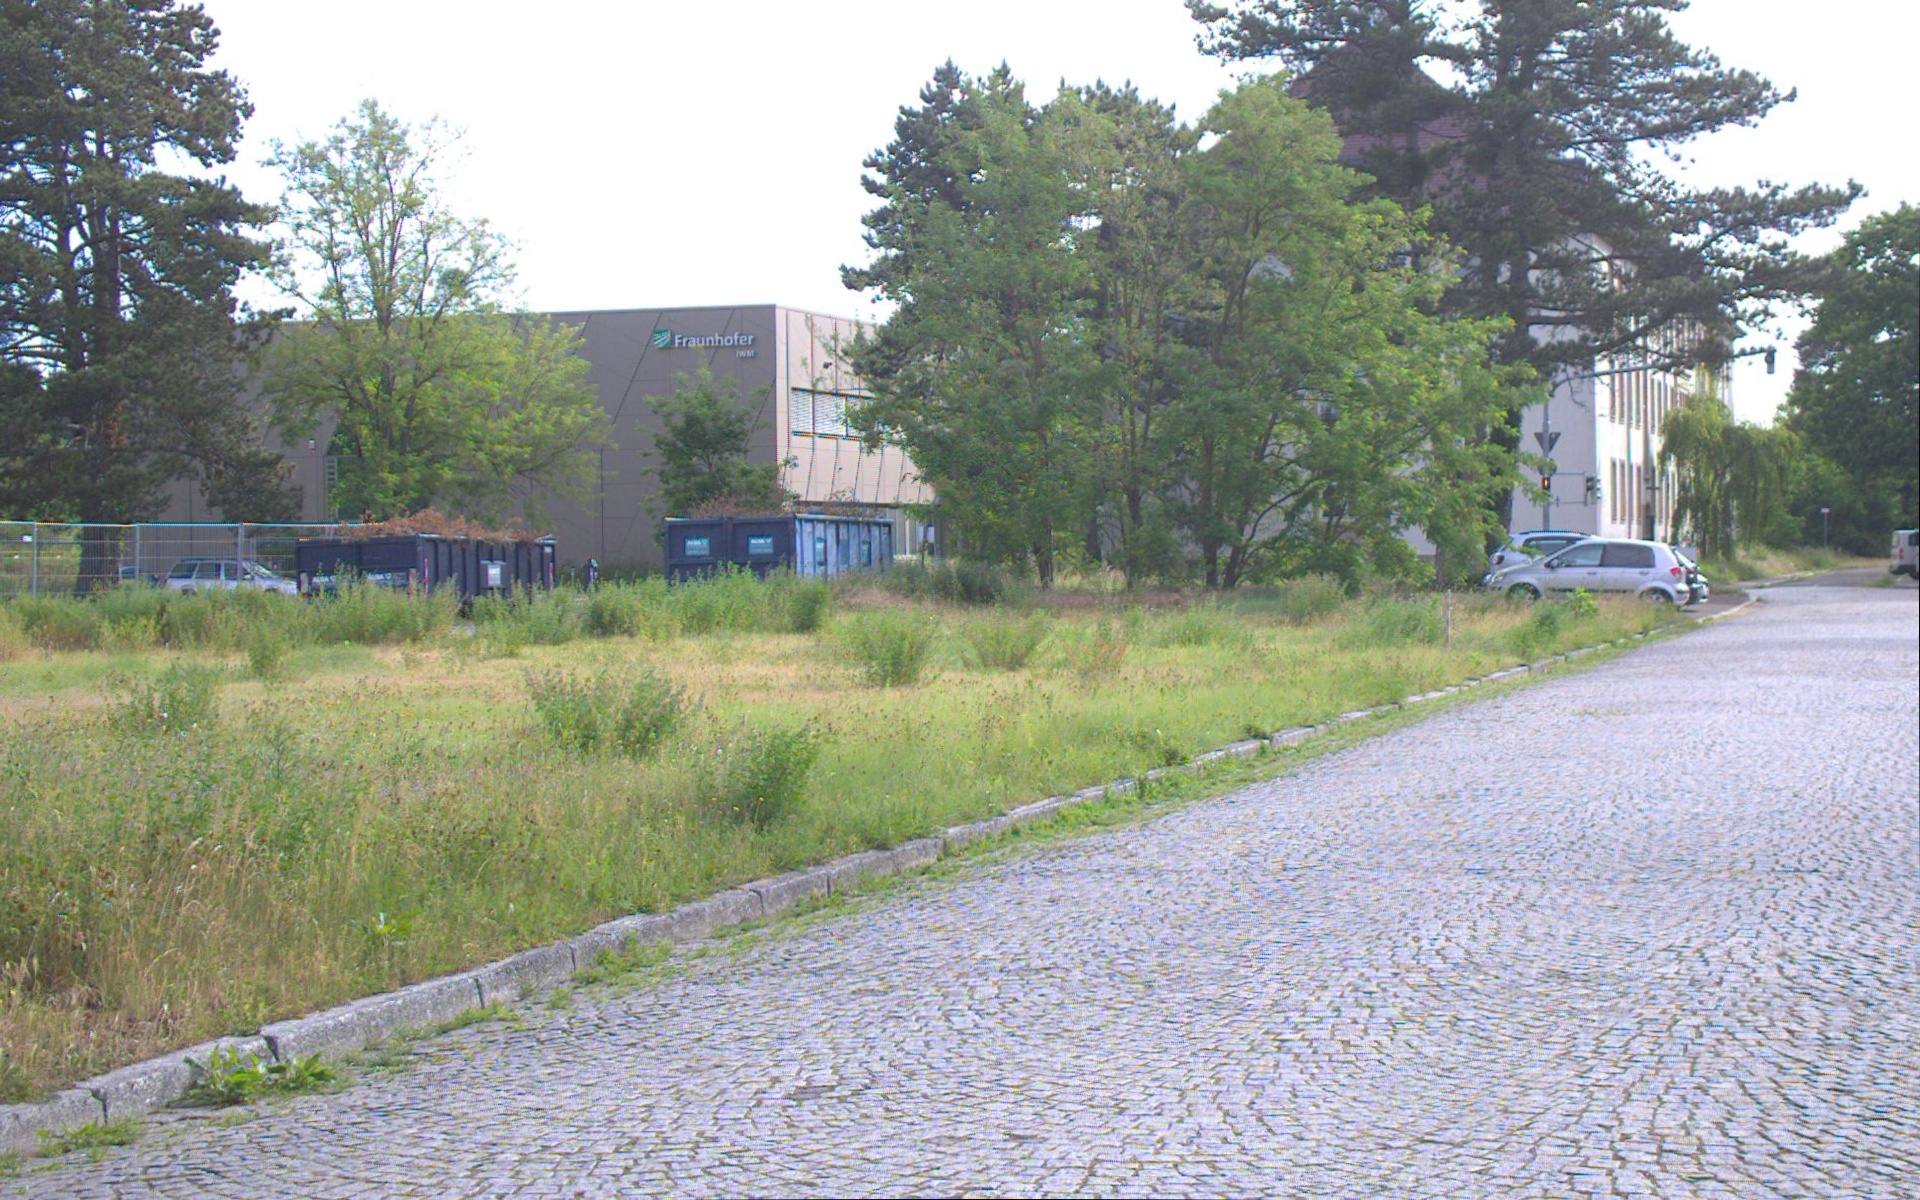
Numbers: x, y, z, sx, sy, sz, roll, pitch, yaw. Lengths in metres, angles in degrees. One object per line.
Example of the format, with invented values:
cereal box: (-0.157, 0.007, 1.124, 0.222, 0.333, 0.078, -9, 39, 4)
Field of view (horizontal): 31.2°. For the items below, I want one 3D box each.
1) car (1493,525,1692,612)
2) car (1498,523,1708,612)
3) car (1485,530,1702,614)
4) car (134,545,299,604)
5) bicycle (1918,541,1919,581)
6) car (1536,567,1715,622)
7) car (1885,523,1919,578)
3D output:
car: (13.001, -0.656, 70.779, 3.988, 1.744, 1.926, 0, 1, 10)
car: (12.675, -0.642, 67.821, 3.989, 1.700, 1.999, 0, 1, 11)
car: (12.030, -0.540, 65.336, 3.989, 1.546, 1.999, 0, 1, 11)
car: (-20.196, -0.692, 93.372, 3.990, 1.548, 1.807, 0, 1, 16)
bicycle: (30.484, -1.228, 107.791, 0.810, 1.264, 1.971, 0, 1, 18)
car: (14.089, -0.117, 72.851, 3.672, 1.090, 1.646, 0, 1, 11)
car: (37.240, -1.853, 128.271, 5.052, 2.007, 2.000, 0, 1, 7)
